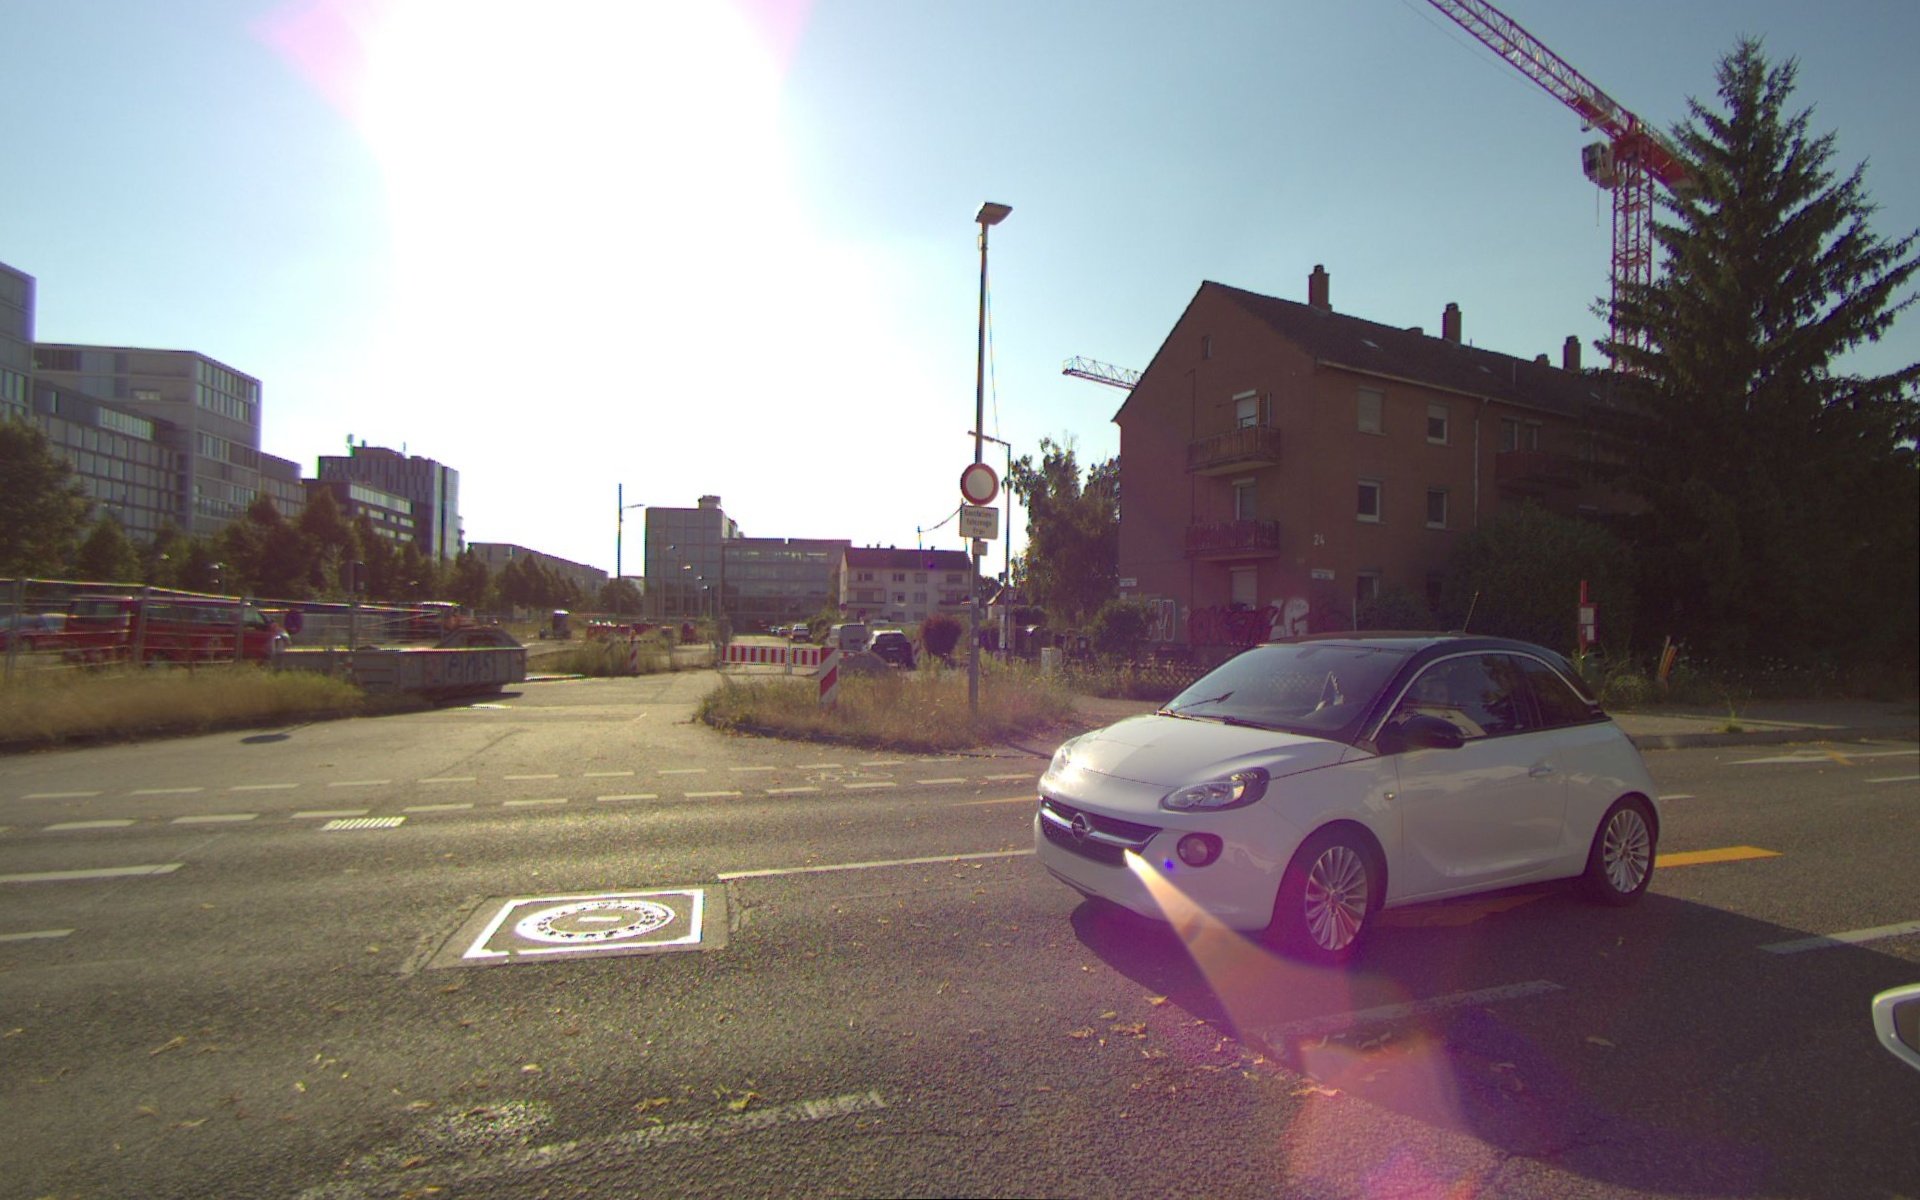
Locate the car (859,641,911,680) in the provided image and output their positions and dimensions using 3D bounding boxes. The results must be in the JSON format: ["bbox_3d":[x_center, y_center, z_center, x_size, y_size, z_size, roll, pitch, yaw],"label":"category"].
[{"bbox_3d":[-3.402,2.673,44.837,1.964,1.572,3.994,1,-2,-9],"label":"car"}]

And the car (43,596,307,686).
[{"bbox_3d":[-19.840,1.018,25.792,1.959,2.040,5.317,0,-2,11],"label":"car"}]

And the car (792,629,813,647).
[{"bbox_3d":[-17.246,4.145,109.951,2.115,1.862,4.353,1,-2,-11],"label":"car"}]

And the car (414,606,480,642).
[{"bbox_3d":[-37.699,1.787,74.010,2.488,2.472,5.927,1,-2,-9],"label":"car"}]

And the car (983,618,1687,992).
[{"bbox_3d":[2.099,0.871,5.542,3.581,1.440,1.751,2,-3,-29],"label":"car"}]

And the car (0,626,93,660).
[{"bbox_3d":[-33.988,1.546,36.778,1.306,1.181,3.933,1,-2,-4],"label":"car"}]

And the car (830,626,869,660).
[{"bbox_3d":[-6.649,2.561,60.339,1.837,1.973,3.990,1,-2,-13],"label":"car"}]
